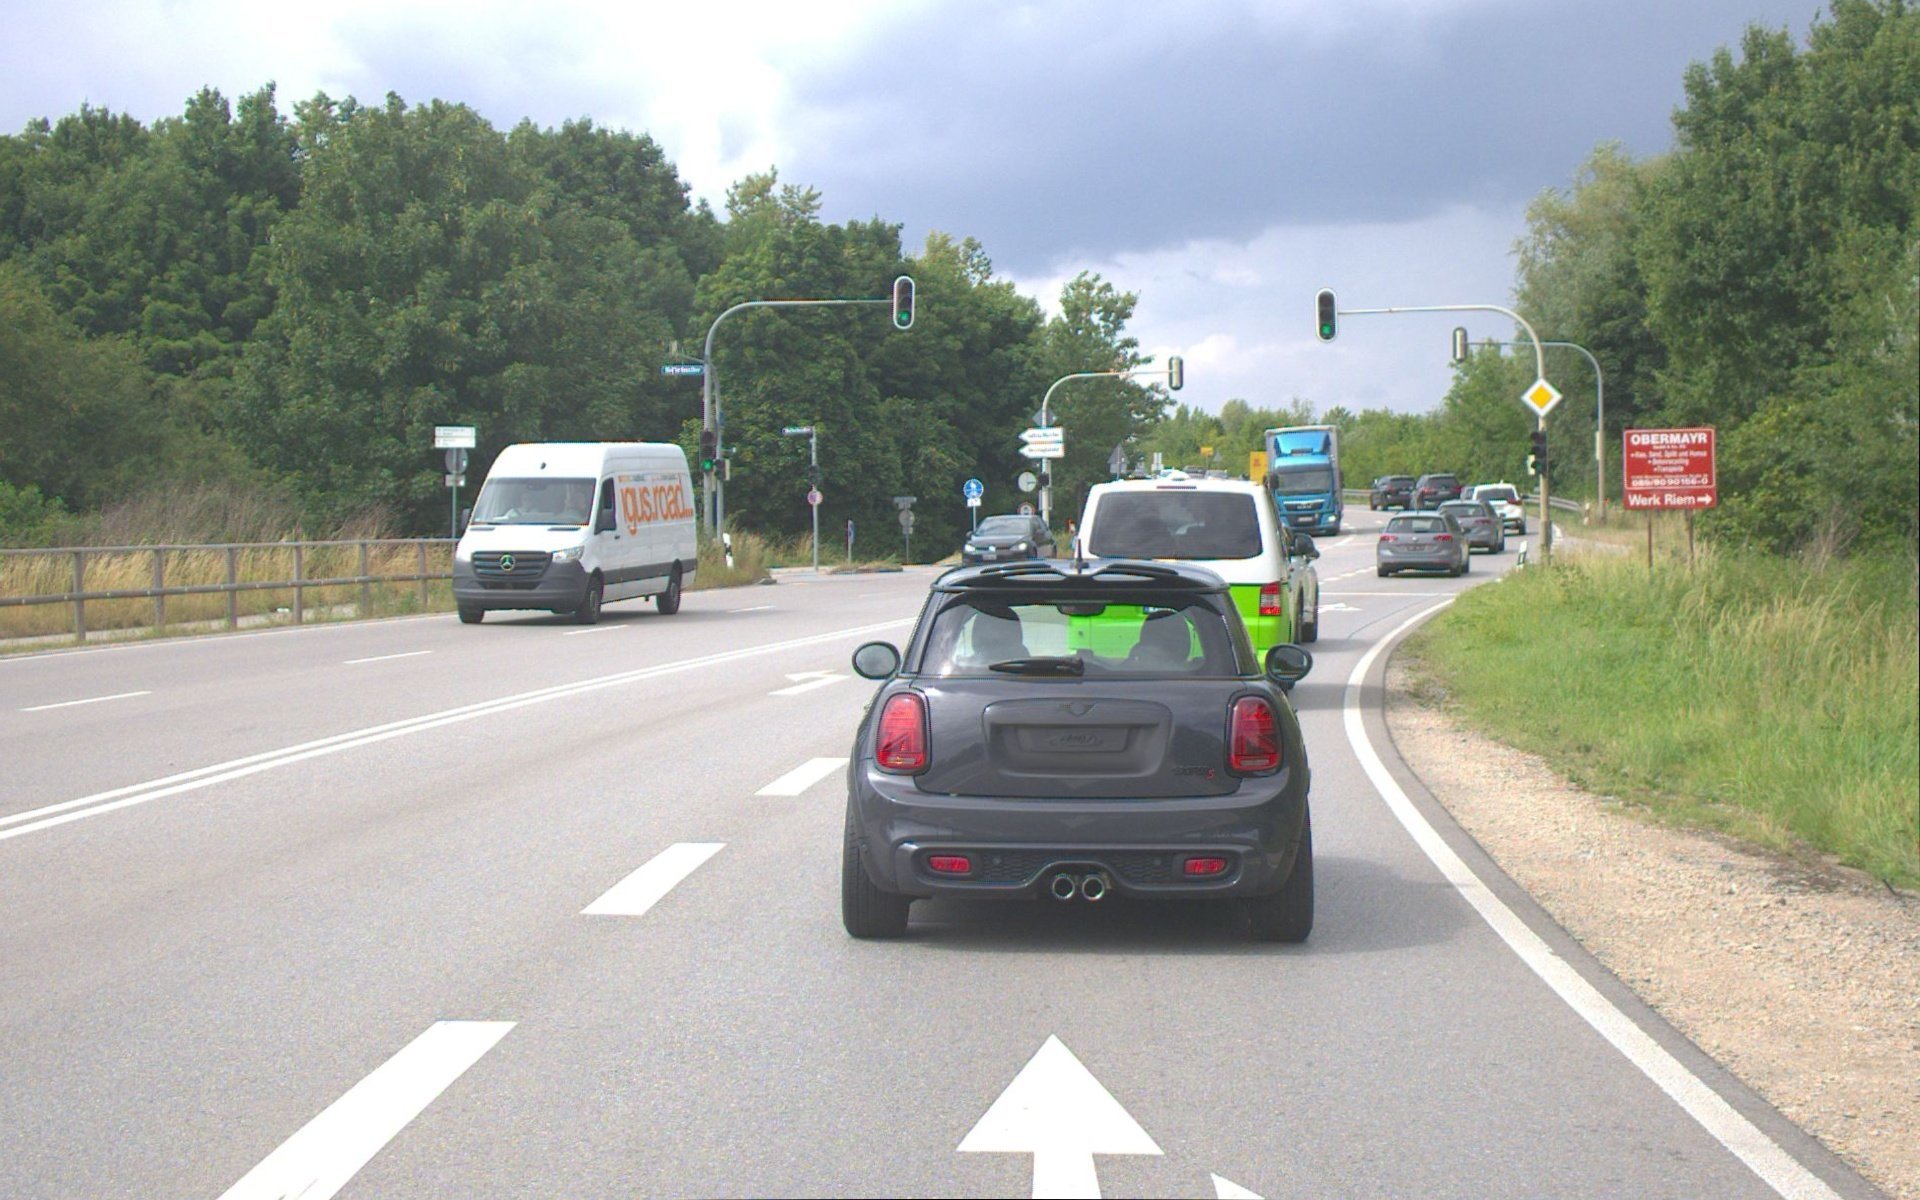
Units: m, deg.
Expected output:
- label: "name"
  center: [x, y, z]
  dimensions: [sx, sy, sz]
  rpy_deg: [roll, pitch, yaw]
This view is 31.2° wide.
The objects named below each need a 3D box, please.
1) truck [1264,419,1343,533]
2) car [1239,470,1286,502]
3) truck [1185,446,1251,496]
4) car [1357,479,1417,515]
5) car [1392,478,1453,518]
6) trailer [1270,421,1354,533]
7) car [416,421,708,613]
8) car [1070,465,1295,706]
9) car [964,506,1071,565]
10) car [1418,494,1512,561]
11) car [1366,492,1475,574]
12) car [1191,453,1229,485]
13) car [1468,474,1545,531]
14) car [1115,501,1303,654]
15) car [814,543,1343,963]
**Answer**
- label: "truck"
  center: [12.554, -4.489, 125.421]
  dimensions: [2.541, 4.082, 3.998]
  rpy_deg: [0, 1, 11]
- label: "car"
  center: [17.447, -6.568, 198.505]
  dimensions: [1.993, 1.781, 4.487]
  rpy_deg: [-1, 2, -5]
- label: "truck"
  center: [16.104, -8.045, 215.218]
  dimensions: [2.716, 2.888, 8.772]
  rpy_deg: [0, 0, -5]
- label: "car"
  center: [20.453, -4.934, 164.874]
  dimensions: [1.993, 1.690, 4.487]
  rpy_deg: [0, 2, -5]
- label: "car"
  center: [19.887, -4.403, 148.008]
  dimensions: [1.993, 1.690, 4.486]
  rpy_deg: [0, 2, 0]
- label: "trailer"
  center: [13.241, -4.571, 128.935]
  dimensions: [2.528, 4.086, 6.732]
  rpy_deg: [0, 2, 11]
- label: "car"
  center: [-5.803, -1.230, 51.315]
  dimensions: [2.435, 2.665, 6.885]
  rpy_deg: [0, 1, 10]
- label: "car"
  center: [1.989, -0.165, 30.308]
  dimensions: [1.845, 1.980, 3.840]
  rpy_deg: [0, 1, 5]
- label: "car"
  center: [1.459, -1.610, 85.230]
  dimensions: [1.947, 1.436, 3.998]
  rpy_deg: [0, 1, 12]
- label: "car"
  center: [13.745, -1.958, 93.377]
  dimensions: [1.995, 1.678, 3.974]
  rpy_deg: [1, 0, 16]
- label: "car"
  center: [10.159, -1.447, 75.668]
  dimensions: [1.995, 1.678, 3.998]
  rpy_deg: [1, 0, 13]
- label: "car"
  center: [17.186, -8.989, 236.206]
  dimensions: [2.180, 2.007, 4.000]
  rpy_deg: [1, 0, -1]
- label: "car"
  center: [17.540, -3.109, 110.238]
  dimensions: [1.995, 1.678, 3.997]
  rpy_deg: [1, 0, 15]
- label: "car"
  center: [2.924, -0.264, 39.678]
  dimensions: [1.994, 1.678, 3.999]
  rpy_deg: [0, 0, 7]
- label: "car"
  center: [0.419, 0.506, 13.992]
  dimensions: [1.845, 1.423, 3.841]
  rpy_deg: [1, 2, 0]
